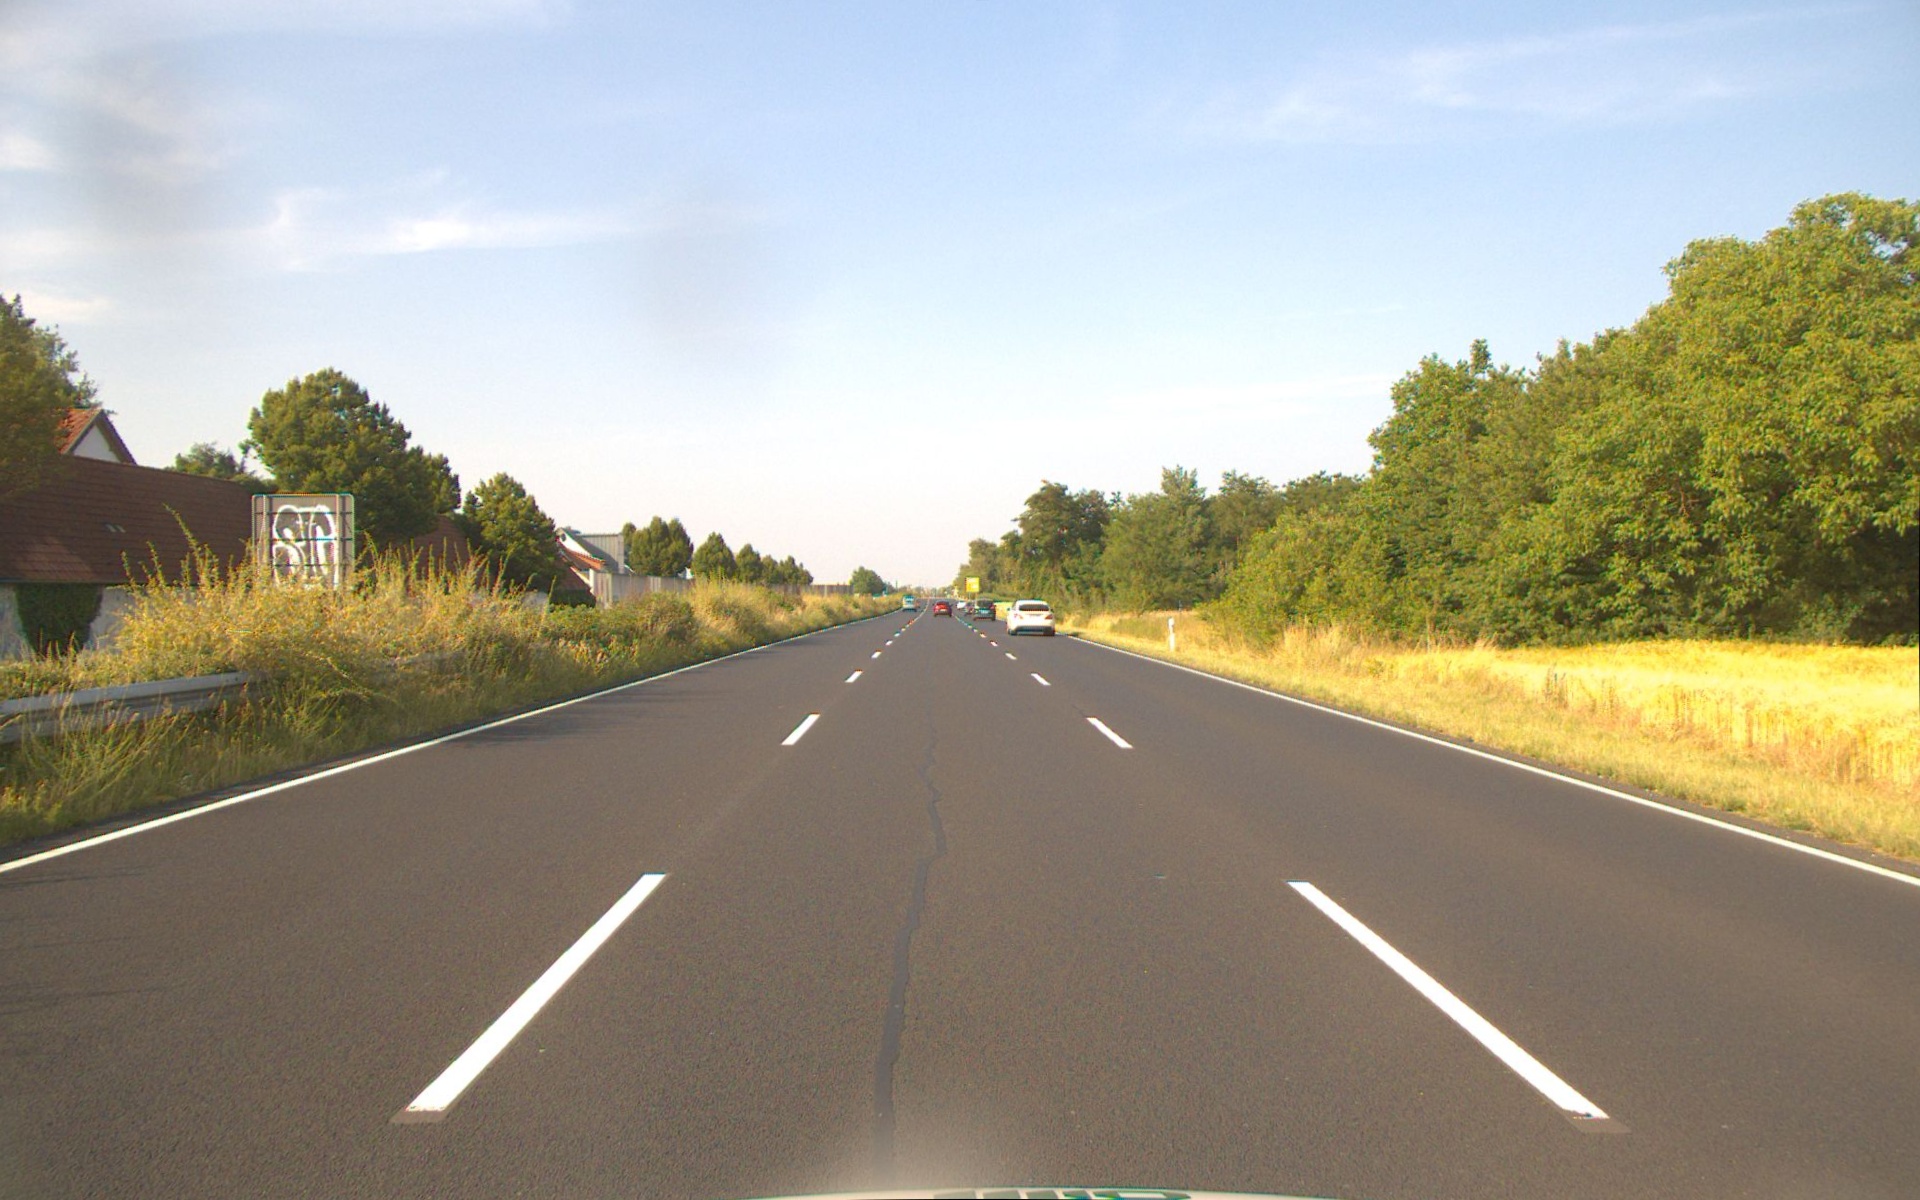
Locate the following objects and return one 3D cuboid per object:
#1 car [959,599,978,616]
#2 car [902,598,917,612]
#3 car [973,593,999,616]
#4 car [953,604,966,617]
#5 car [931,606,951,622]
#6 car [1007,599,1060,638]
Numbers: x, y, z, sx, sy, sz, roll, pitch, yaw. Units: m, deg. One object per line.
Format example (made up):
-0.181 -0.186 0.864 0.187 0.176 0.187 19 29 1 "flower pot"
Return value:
0.872 0.780 168.521 1.797 1.747 3.861 1 -1 -1 "car"
-6.428 0.625 210.791 1.722 1.646 4.000 1 -1 1 "car"
1.998 0.358 127.792 1.791 1.758 3.999 1 -1 -1 "car"
-0.058 1.544 235.462 1.809 1.780 3.999 1 -1 0 "car"
-1.815 1.281 156.180 1.775 1.461 3.857 1 -1 -2 "car"
3.019 0.779 68.880 1.953 1.543 3.999 1 -1 -1 "car"
